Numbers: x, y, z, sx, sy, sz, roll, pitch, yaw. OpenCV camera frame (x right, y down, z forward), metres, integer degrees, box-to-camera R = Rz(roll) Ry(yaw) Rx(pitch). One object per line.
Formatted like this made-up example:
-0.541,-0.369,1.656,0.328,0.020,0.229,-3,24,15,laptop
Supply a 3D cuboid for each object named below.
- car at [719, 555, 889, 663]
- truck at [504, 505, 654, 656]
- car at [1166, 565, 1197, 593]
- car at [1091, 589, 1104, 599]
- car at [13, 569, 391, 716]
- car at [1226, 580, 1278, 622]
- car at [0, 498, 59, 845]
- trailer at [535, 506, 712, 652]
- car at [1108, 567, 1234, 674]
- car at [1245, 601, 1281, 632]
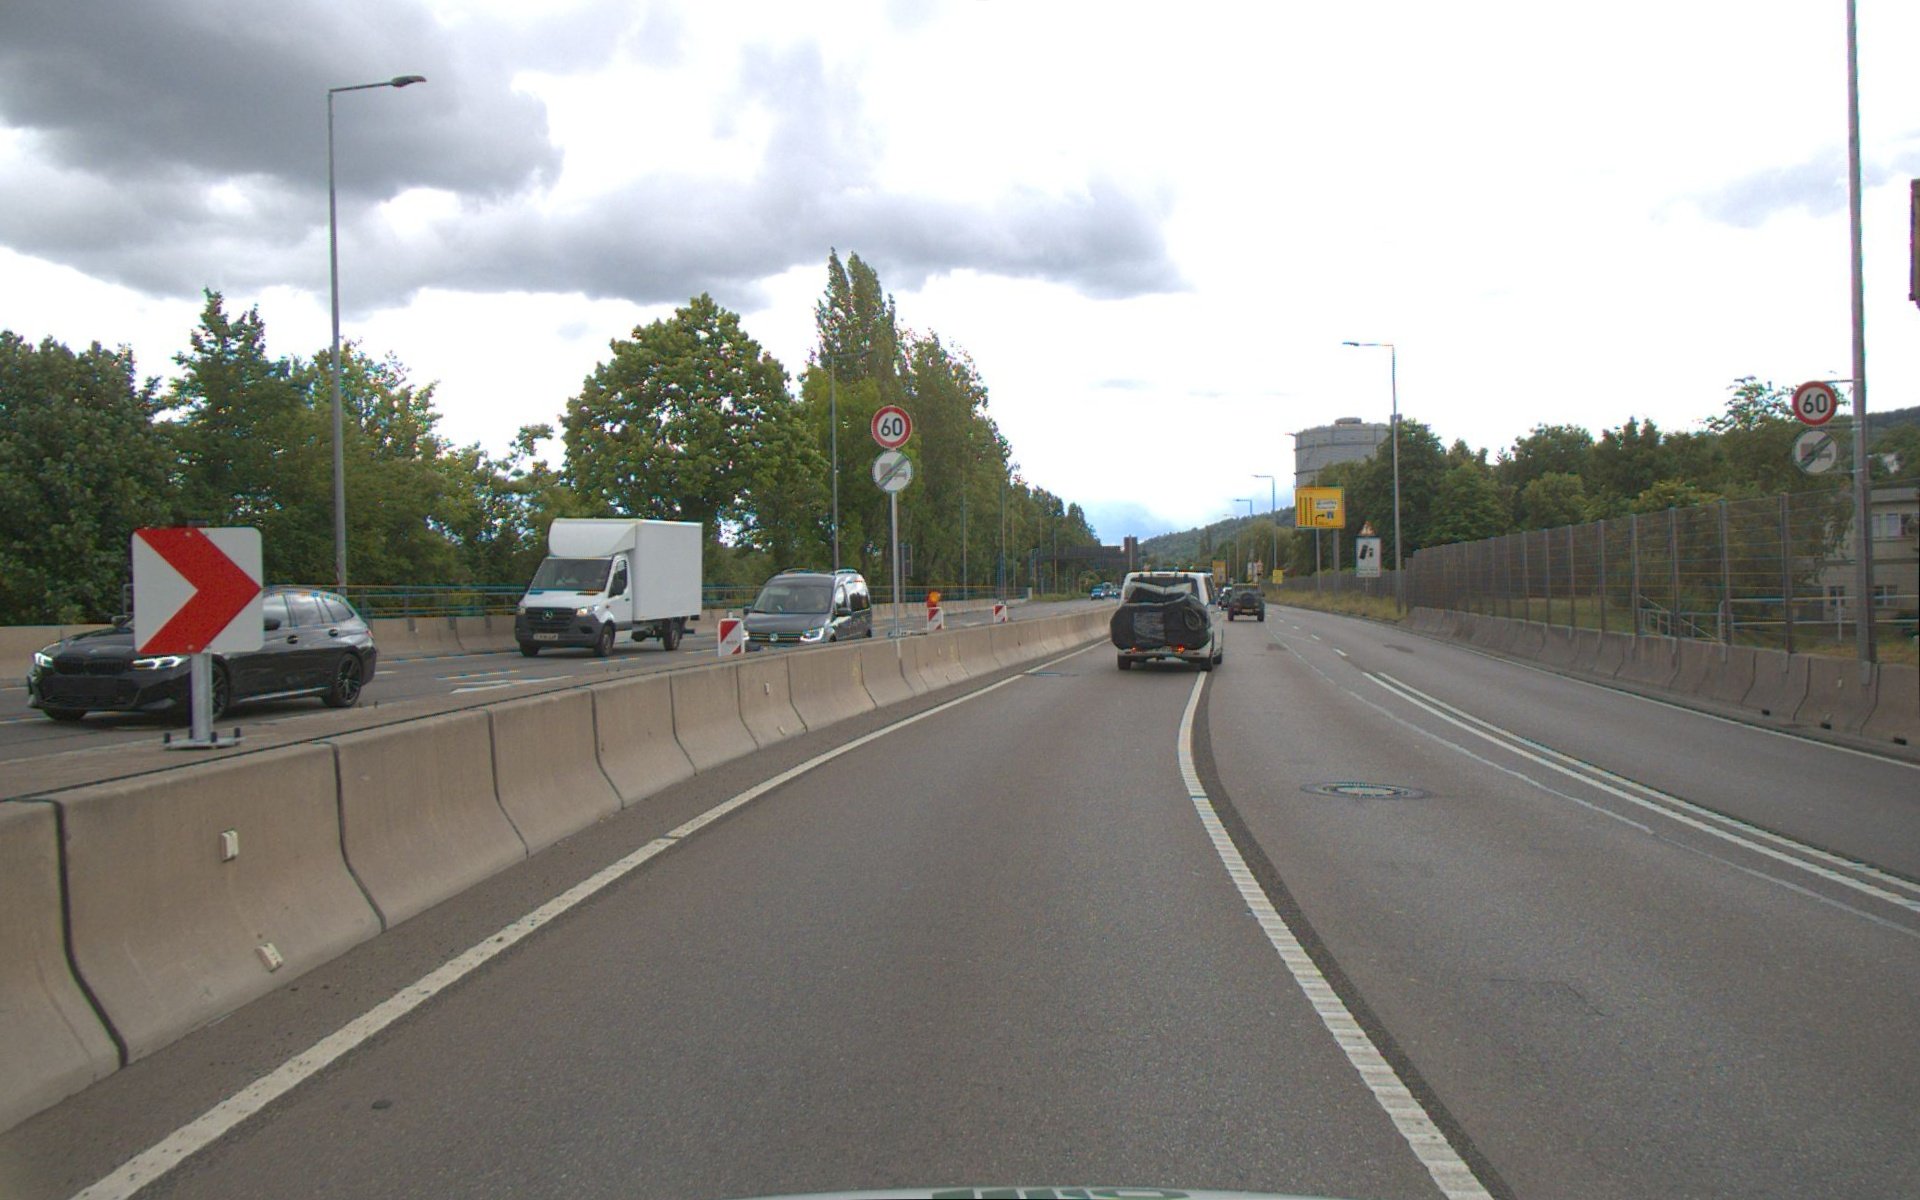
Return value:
-2.801,0.155,30.869,1.861,1.837,4.959,-1,0,10,car
-8.311,-0.417,36.332,2.224,3.168,2.990,1,0,9,truck
14.299,-1.327,106.706,1.951,1.702,4.003,1,0,7,car
18.316,-0.793,219.693,1.696,1.398,3.619,0,0,5,car
-8.429,0.438,18.931,1.823,1.478,4.575,0,0,6,car
13.557,0.072,76.942,1.951,1.892,4.002,-1,-1,4,car
-6.292,0.360,6.412,1.910,1.838,5.797,1,0,6,car
-7.846,-0.455,39.293,2.224,3.193,5.716,1,0,9,trailer
4.287,0.344,32.833,1.950,1.891,5.646,2,1,12,car
19.672,1.091,107.472,1.951,1.937,4.002,-1,-1,6,car
